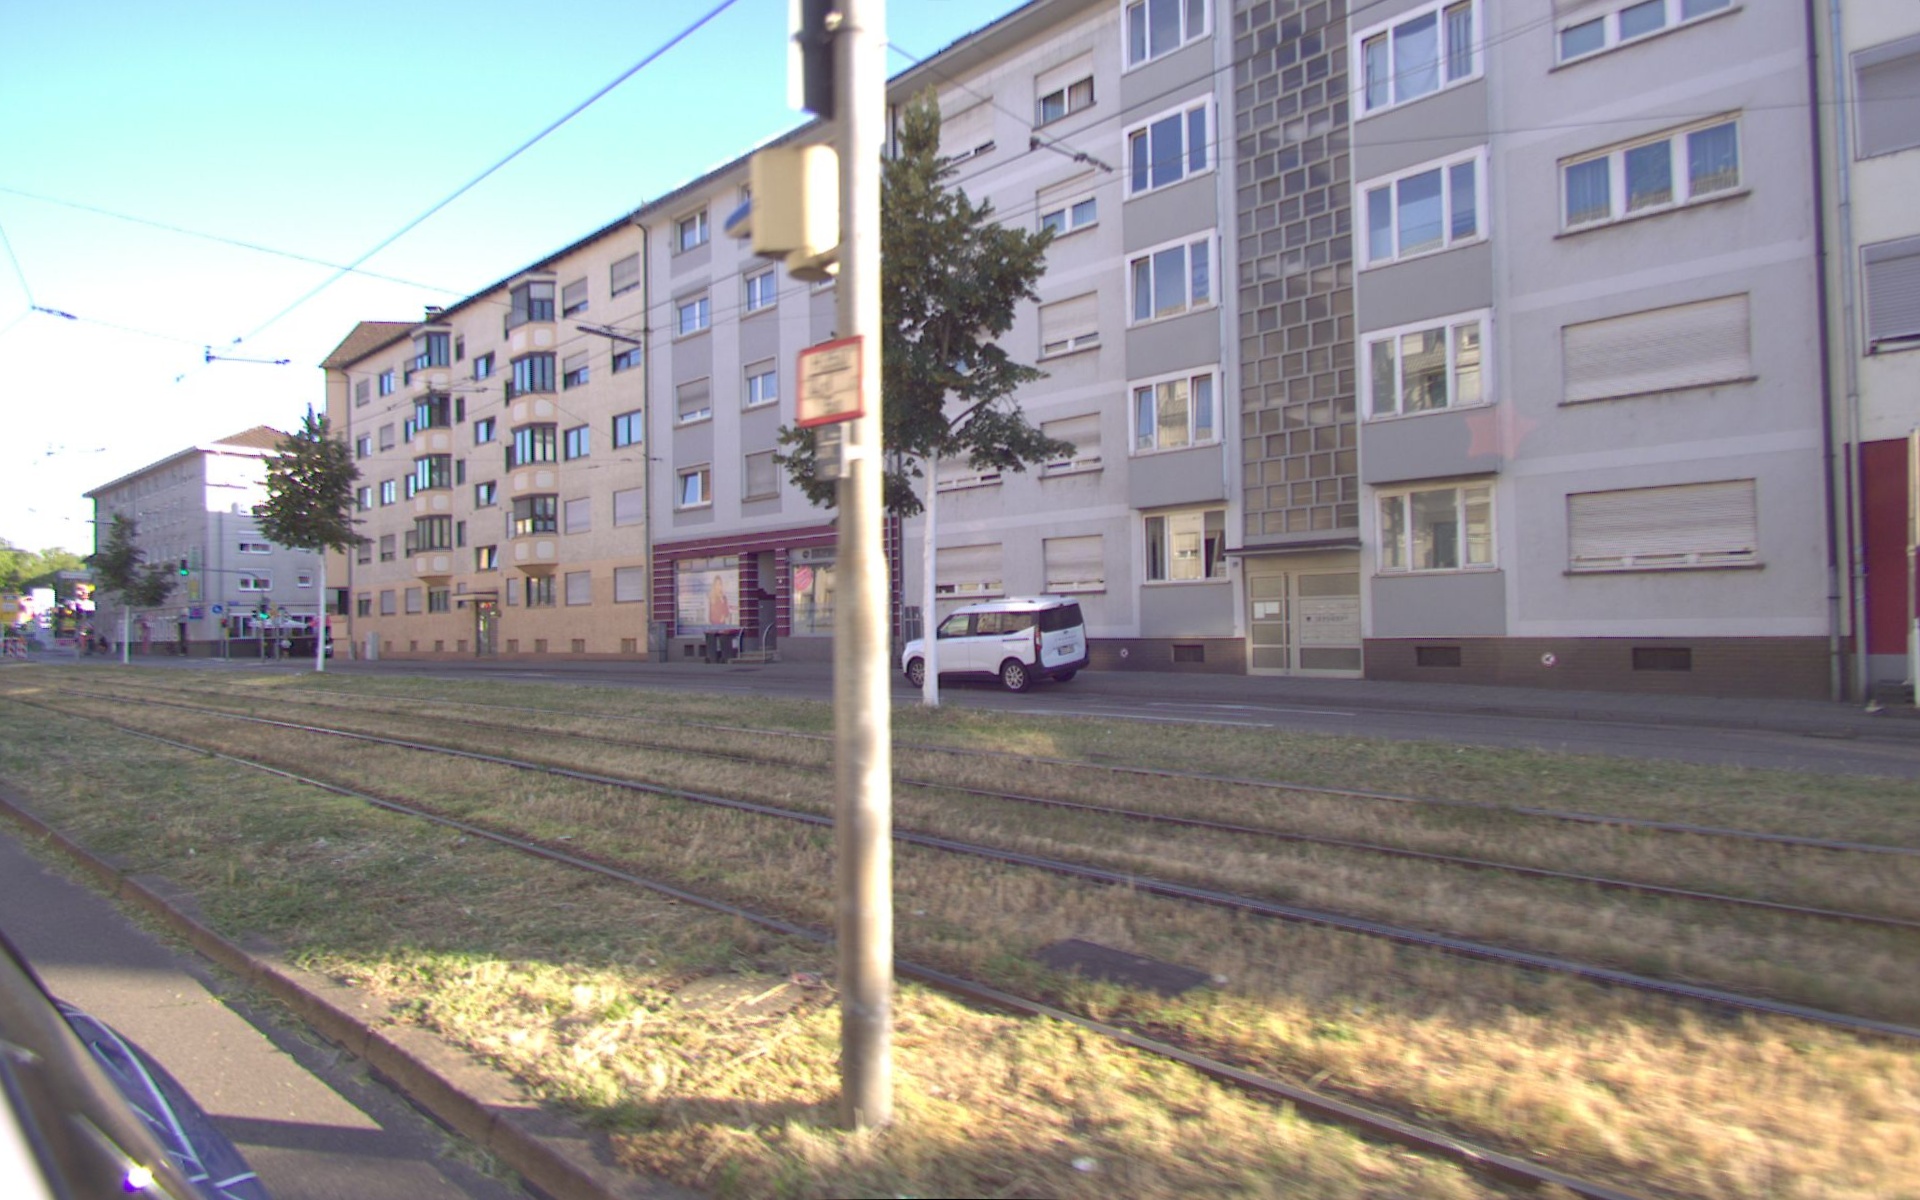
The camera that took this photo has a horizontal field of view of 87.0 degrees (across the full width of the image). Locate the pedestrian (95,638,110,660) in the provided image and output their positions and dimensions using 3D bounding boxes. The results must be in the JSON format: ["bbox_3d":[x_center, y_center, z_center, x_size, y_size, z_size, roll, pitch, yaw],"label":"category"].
[{"bbox_3d":[-70.671,4.037,83.402,1.225,1.754,0.733,-2,-2,39],"label":"pedestrian"}]

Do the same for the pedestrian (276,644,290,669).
[{"bbox_3d":[-41.969,3.487,62.749,0.582,1.501,0.616,-2,-2,39],"label":"pedestrian"}]

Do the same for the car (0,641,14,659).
[{"bbox_3d":[-91.464,4.767,96.066,4.464,1.603,1.898,-3,-3,40],"label":"car"}]

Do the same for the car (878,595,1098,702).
[{"bbox_3d":[0.522,0.993,21.583,4.420,1.842,1.848,-2,5,42],"label":"car"}]

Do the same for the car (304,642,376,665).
[{"bbox_3d":[-44.300,3.800,72.362,1.996,1.519,3.952,-2,-2,35],"label":"car"}]

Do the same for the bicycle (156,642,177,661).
[{"bbox_3d":[-61.583,3.981,78.509,3.233,1.389,0.572,-2,-2,39],"label":"bicycle"}]

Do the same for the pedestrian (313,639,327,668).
[{"bbox_3d":[-39.494,3.299,62.450,0.624,1.784,0.827,0,-2,-24],"label":"pedestrian"}]
